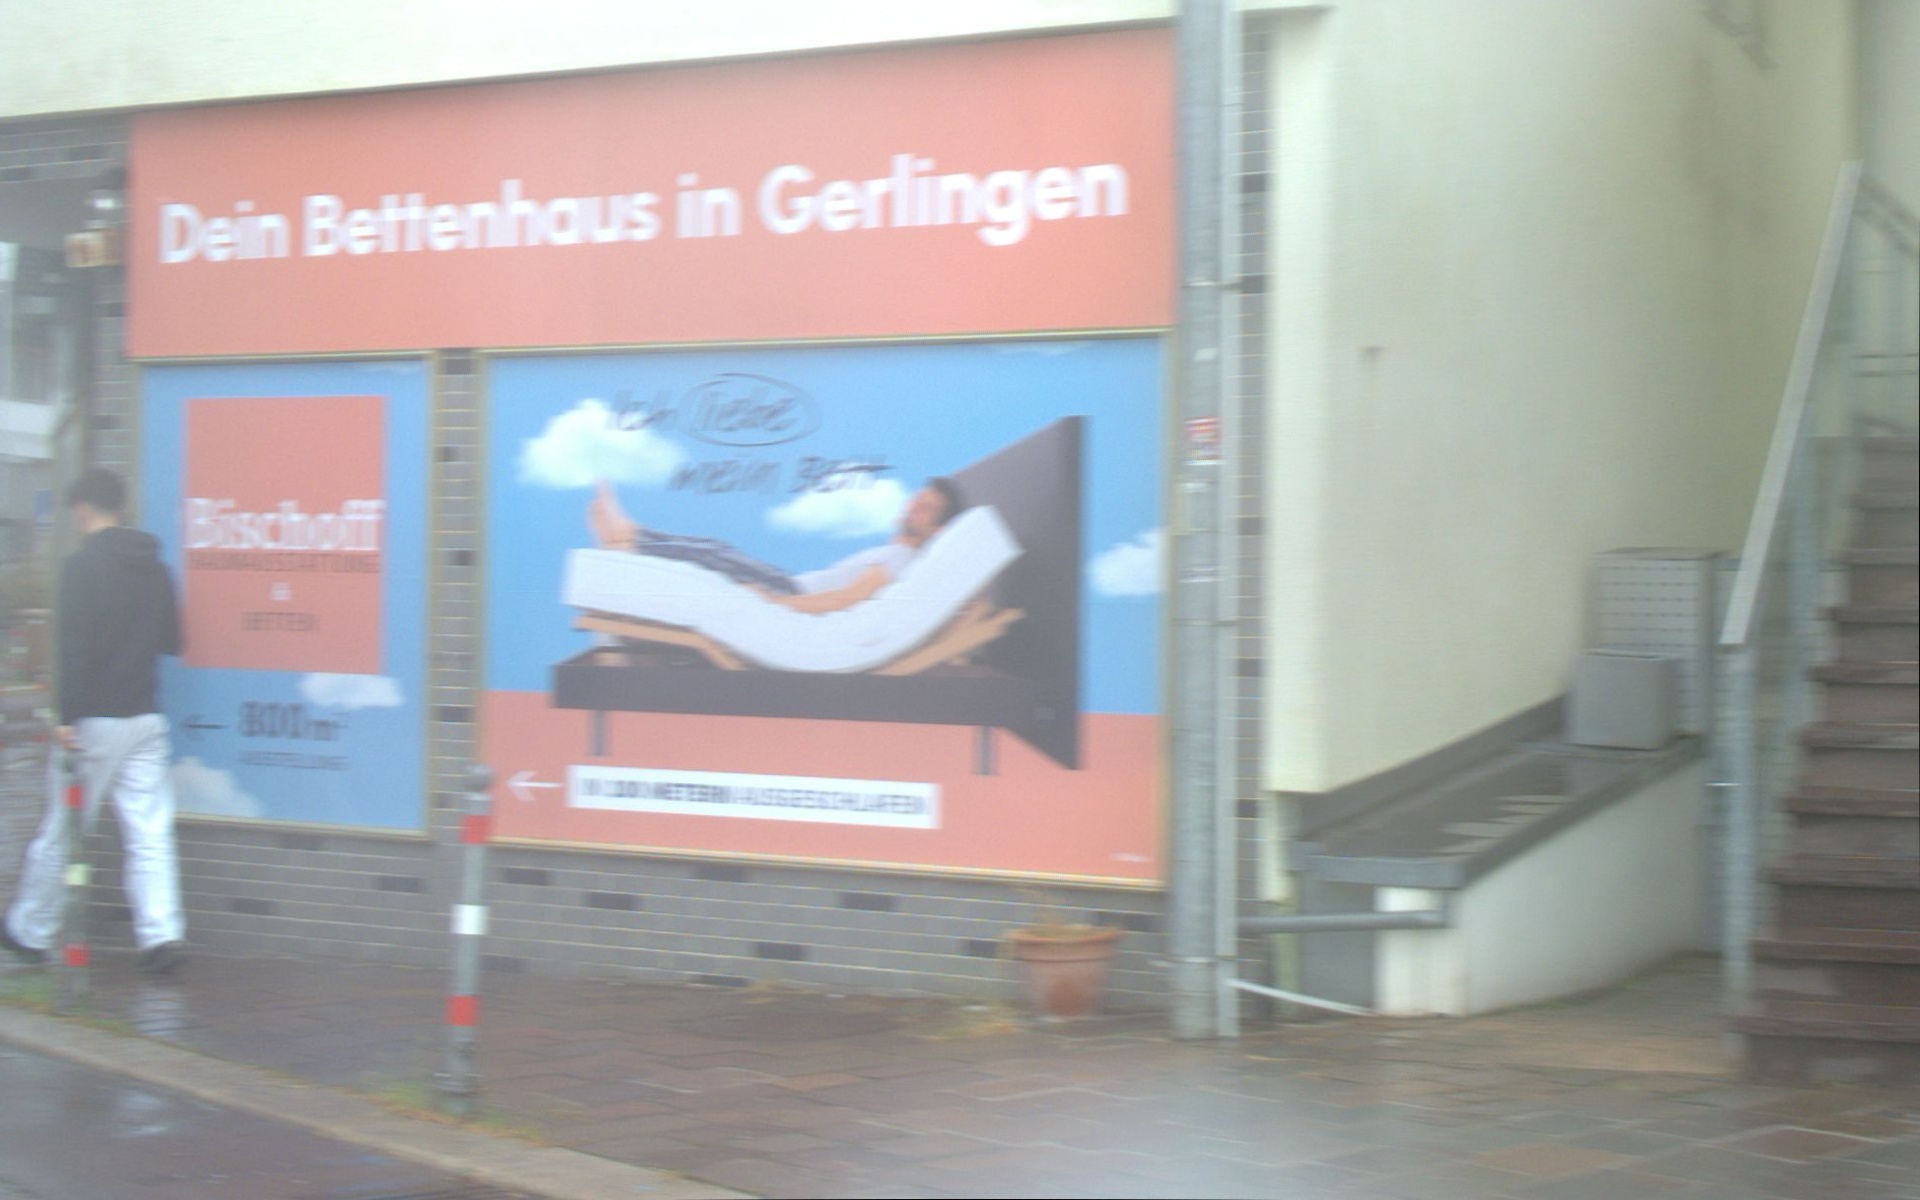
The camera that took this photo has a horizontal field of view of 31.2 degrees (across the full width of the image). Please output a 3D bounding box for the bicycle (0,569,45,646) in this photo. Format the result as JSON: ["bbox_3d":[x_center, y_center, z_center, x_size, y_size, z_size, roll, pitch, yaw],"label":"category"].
[{"bbox_3d":[-17.105,0.134,59.392,2.302,1.310,1.010,0,-1,8],"label":"bicycle"}]

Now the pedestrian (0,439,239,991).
[{"bbox_3d":[-3.232,0.421,12.979,0.760,2.007,0.651,0,-1,33],"label":"pedestrian"}]
